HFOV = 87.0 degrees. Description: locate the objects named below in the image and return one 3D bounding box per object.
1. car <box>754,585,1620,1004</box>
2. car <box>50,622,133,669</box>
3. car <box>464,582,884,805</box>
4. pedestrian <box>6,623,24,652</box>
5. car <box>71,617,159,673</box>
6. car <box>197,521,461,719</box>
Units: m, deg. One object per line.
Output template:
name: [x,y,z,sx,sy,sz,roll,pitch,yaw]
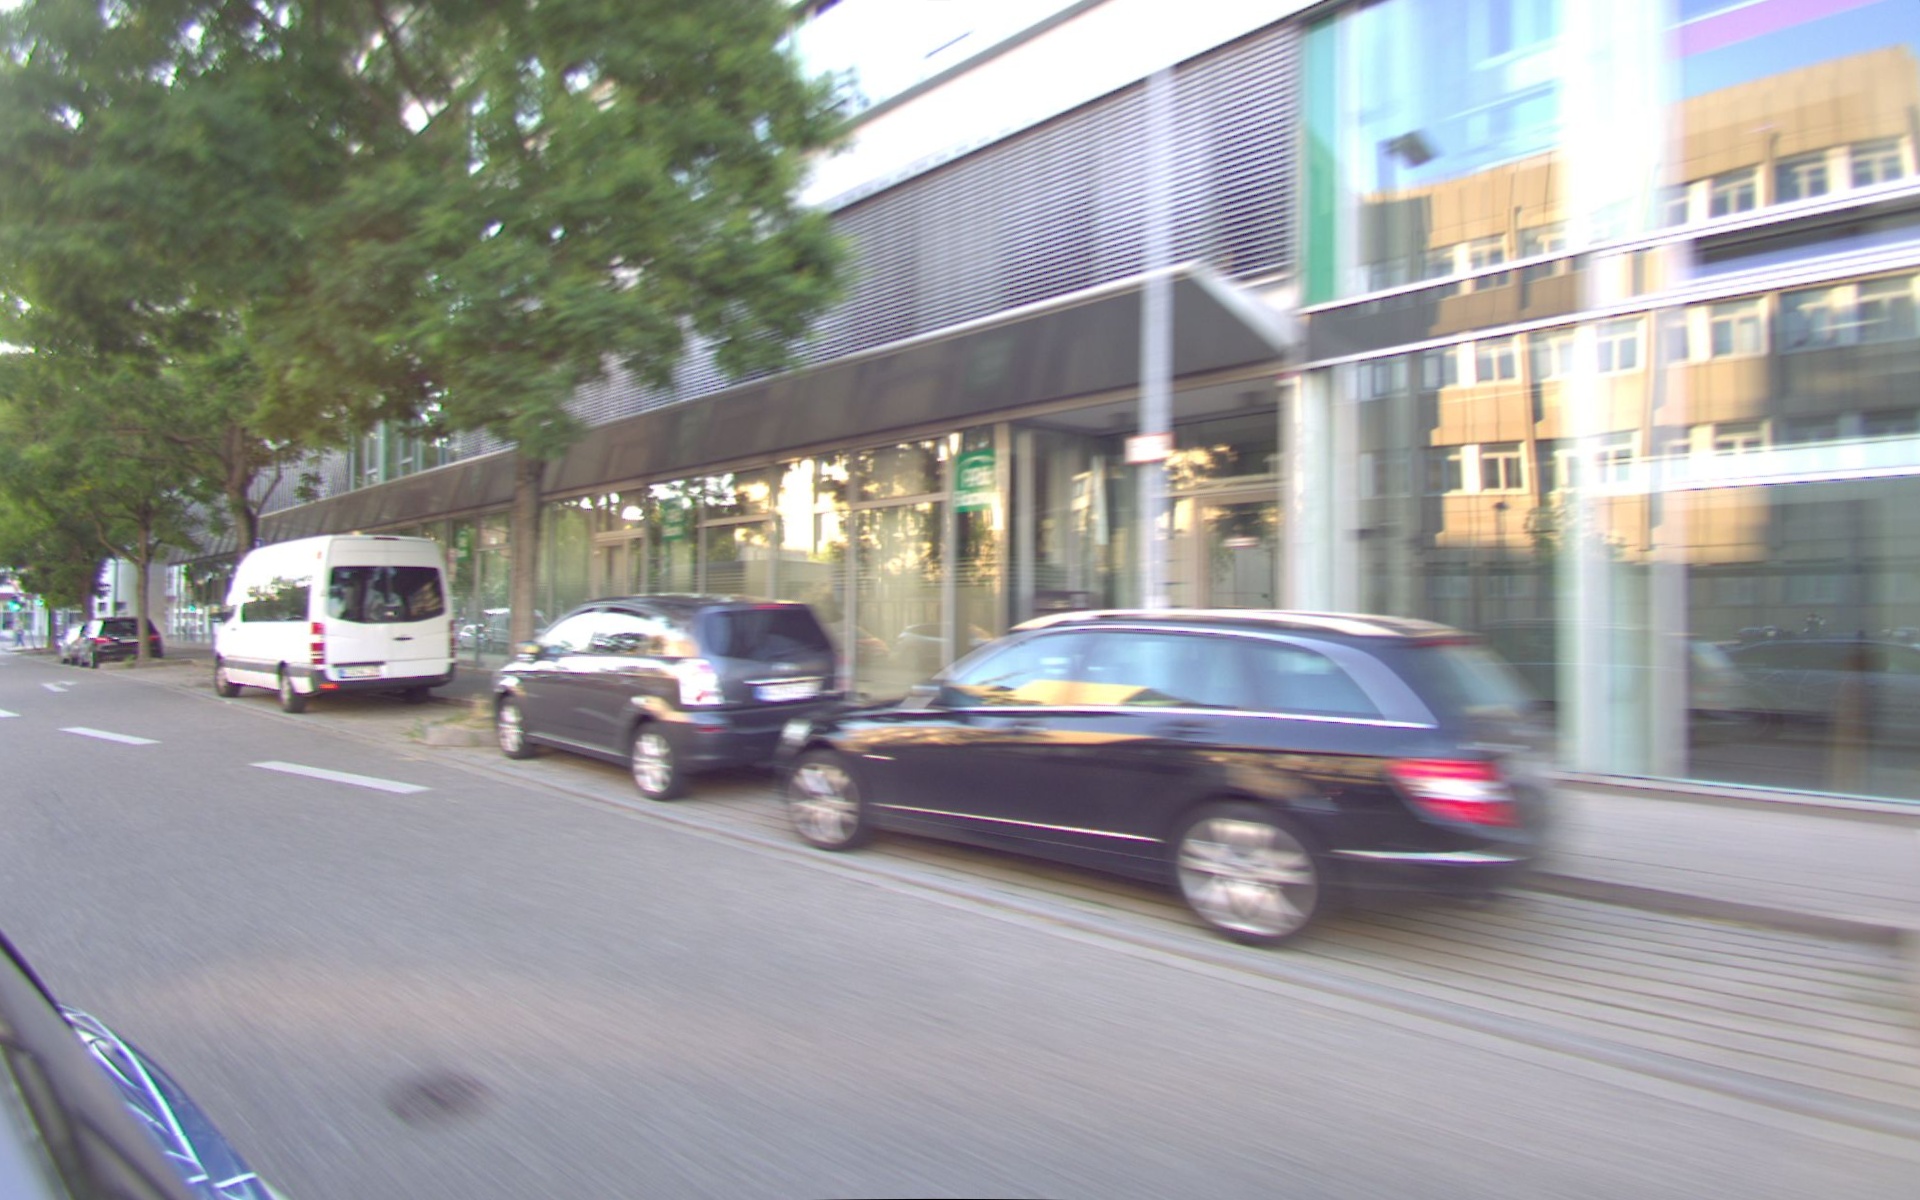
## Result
car: [0.939,0.731,5.609,4.394,1.463,1.698,-2,-2,39]
car: [-30.789,1.564,35.834,4.627,1.472,1.685,-2,1,43]
car: [-2.813,0.717,9.354,4.268,1.583,1.823,-2,-2,44]
pedestrian: [-55.819,2.220,59.790,0.537,1.714,0.710,0,-2,-20]
car: [-26.877,1.384,32.150,4.471,1.580,1.572,-2,1,43]
car: [-10.736,0.356,16.888,6.952,2.684,2.077,-2,-2,44]
